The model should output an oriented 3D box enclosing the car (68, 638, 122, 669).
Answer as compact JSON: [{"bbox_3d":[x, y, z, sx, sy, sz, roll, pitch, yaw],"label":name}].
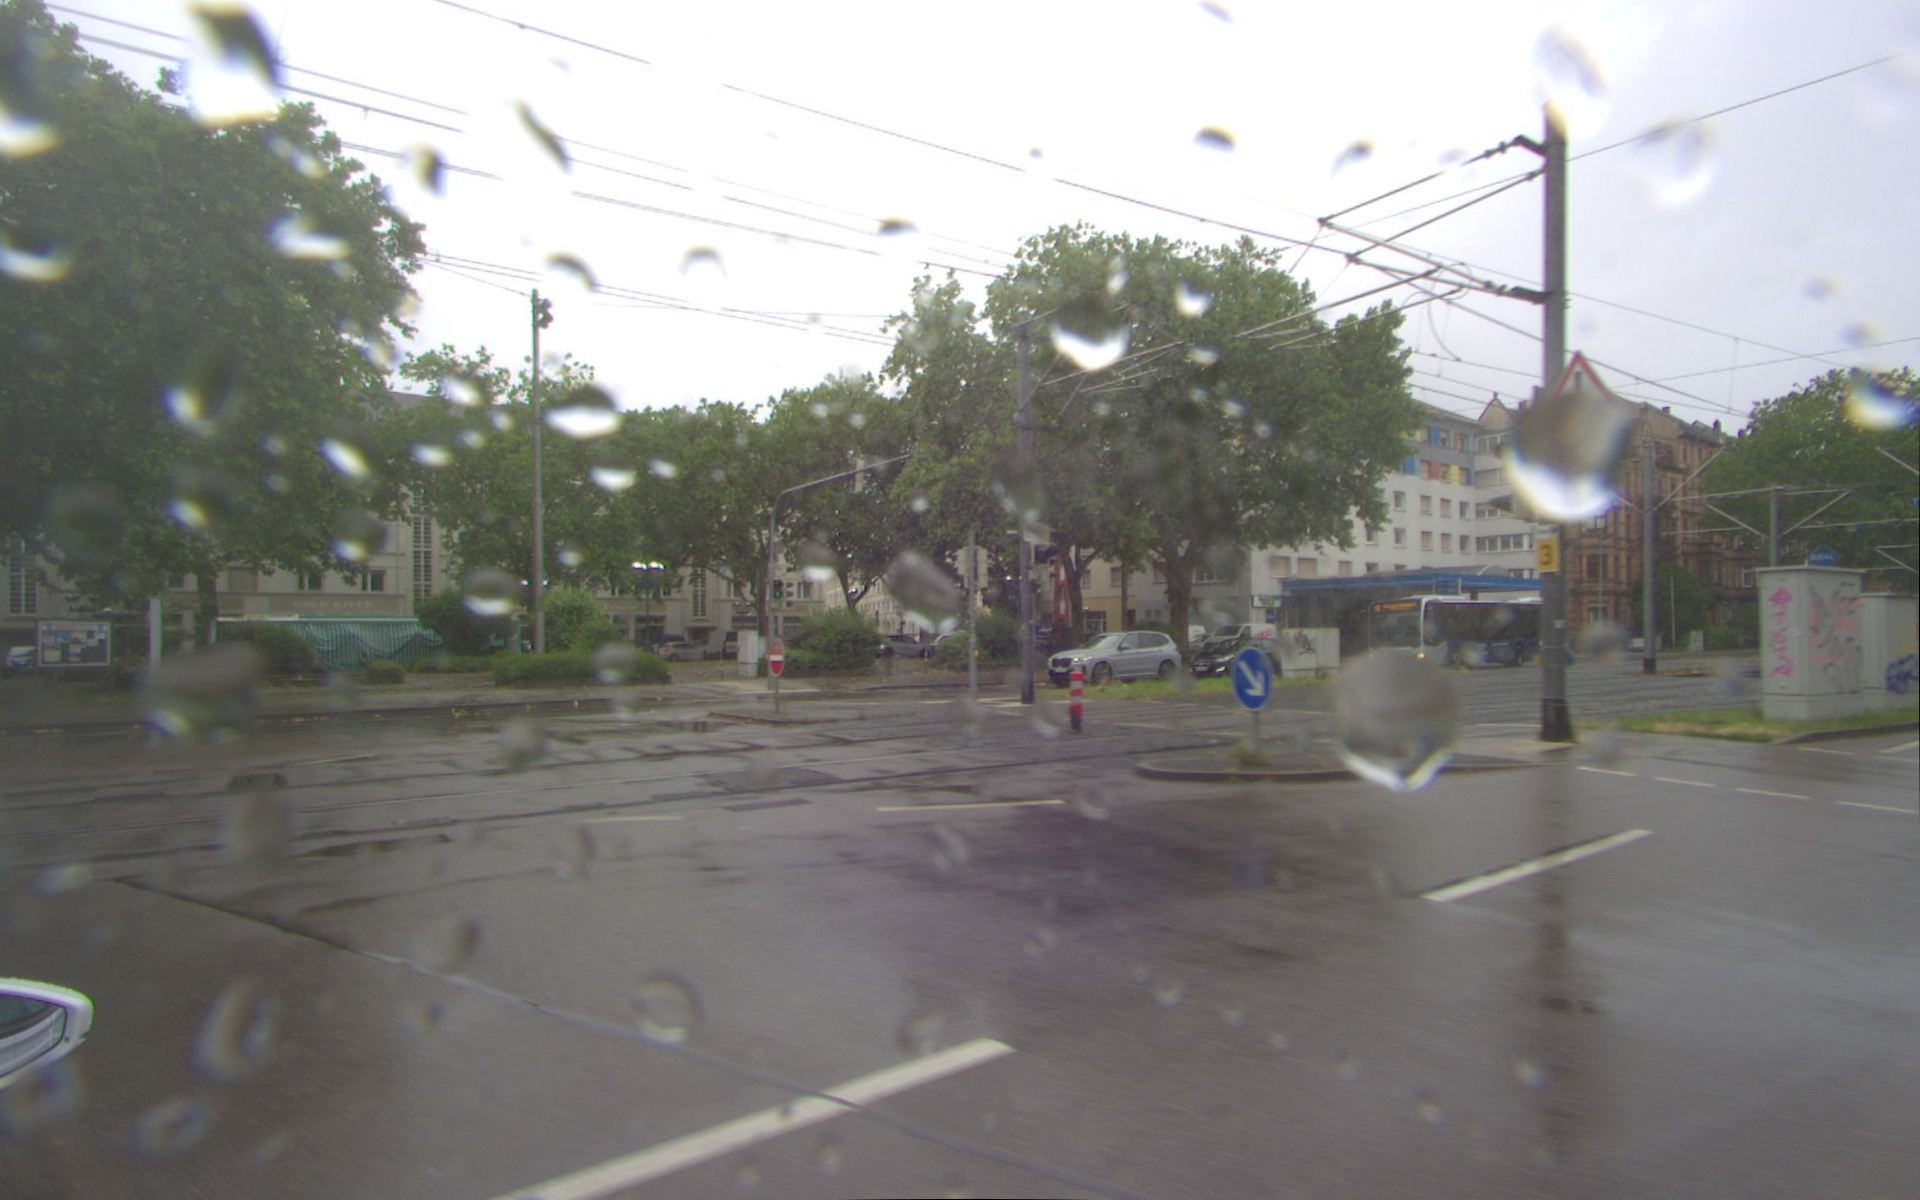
[{"bbox_3d":[-44.757,2.783,51.870,1.663,1.449,3.715,0,-4,-34],"label":"car"}]

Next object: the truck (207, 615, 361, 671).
[{"bbox_3d":[-34.348,2.153,50.989,6.329,2.733,2.250,1,-2,-40],"label":"truck"}]

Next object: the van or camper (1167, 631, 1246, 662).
[{"bbox_3d":[13.691,2.543,55.458,4.620,1.619,1.983,1,-2,-41],"label":"van or camper"}]

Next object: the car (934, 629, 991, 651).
[{"bbox_3d":[0.193,2.895,72.483,3.949,1.470,1.666,0,-2,-36],"label":"car"}]

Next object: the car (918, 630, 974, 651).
[{"bbox_3d":[-1.012,3.014,74.657,3.949,1.470,1.666,0,-2,-36],"label":"car"}]

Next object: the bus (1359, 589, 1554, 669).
[{"bbox_3d":[22.100,1.269,44.068,11.962,3.153,2.871,1,-2,-38],"label":"bus"}]

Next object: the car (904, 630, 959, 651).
[{"bbox_3d":[-2.171,3.091,76.824,3.949,1.470,1.666,0,-2,-36],"label":"car"}]

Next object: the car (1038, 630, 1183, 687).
[{"bbox_3d":[4.631,1.726,30.536,4.502,1.620,1.778,1,-2,-38],"label":"car"}]

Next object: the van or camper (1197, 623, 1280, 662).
[{"bbox_3d":[14.650,2.201,52.602,4.620,1.939,1.983,1,-2,-41],"label":"van or camper"}]

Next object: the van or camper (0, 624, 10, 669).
[{"bbox_3d":[-48.291,2.278,48.456,2.372,2.259,5.399,0,-2,-33],"label":"van or camper"}]

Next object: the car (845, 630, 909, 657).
[{"bbox_3d":[-5.155,2.686,61.928,1.979,1.638,3.966,0,-2,-41],"label":"car"}]

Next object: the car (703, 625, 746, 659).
[{"bbox_3d":[-16.926,3.024,71.839,1.535,2.230,4.074,0,-4,-35],"label":"car"}]

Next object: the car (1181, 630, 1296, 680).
[{"bbox_3d":[9.733,1.858,34.863,4.129,1.620,1.765,1,-2,-38],"label":"car"}]

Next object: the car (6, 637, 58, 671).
[{"bbox_3d":[-46.062,2.691,49.767,1.666,1.595,3.706,1,-3,-40],"label":"car"}]

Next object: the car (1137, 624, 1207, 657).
[{"bbox_3d":[12.159,2.316,57.364,4.215,1.801,1.724,1,-2,-41],"label":"car"}]
